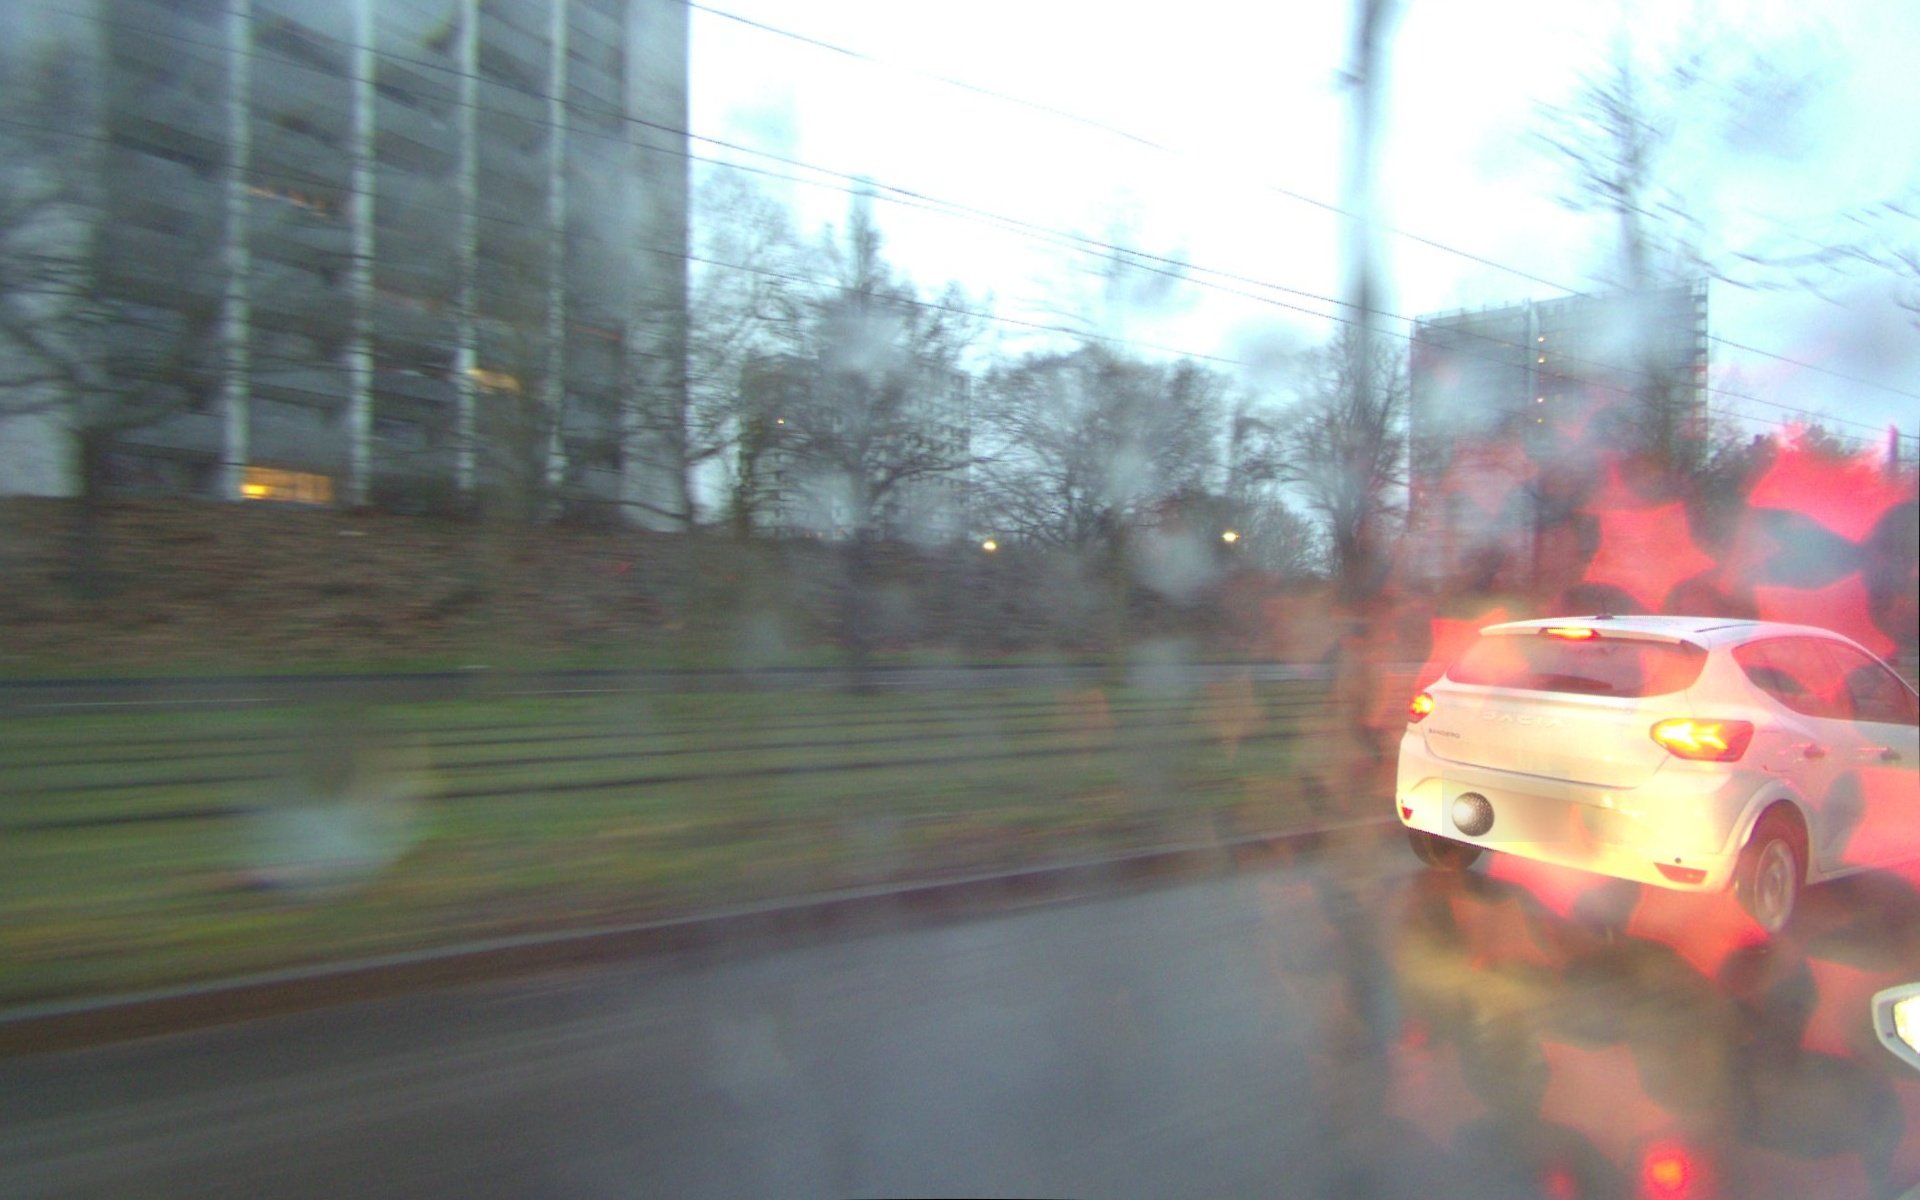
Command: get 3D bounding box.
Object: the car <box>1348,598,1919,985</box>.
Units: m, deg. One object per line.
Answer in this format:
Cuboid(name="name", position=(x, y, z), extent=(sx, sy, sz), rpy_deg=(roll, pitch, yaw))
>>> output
Cuboid(name="car", position=(4.319, 0.812, 5.757), extent=(4.084, 1.545, 1.701), rpy_deg=(1, -1, -29))
